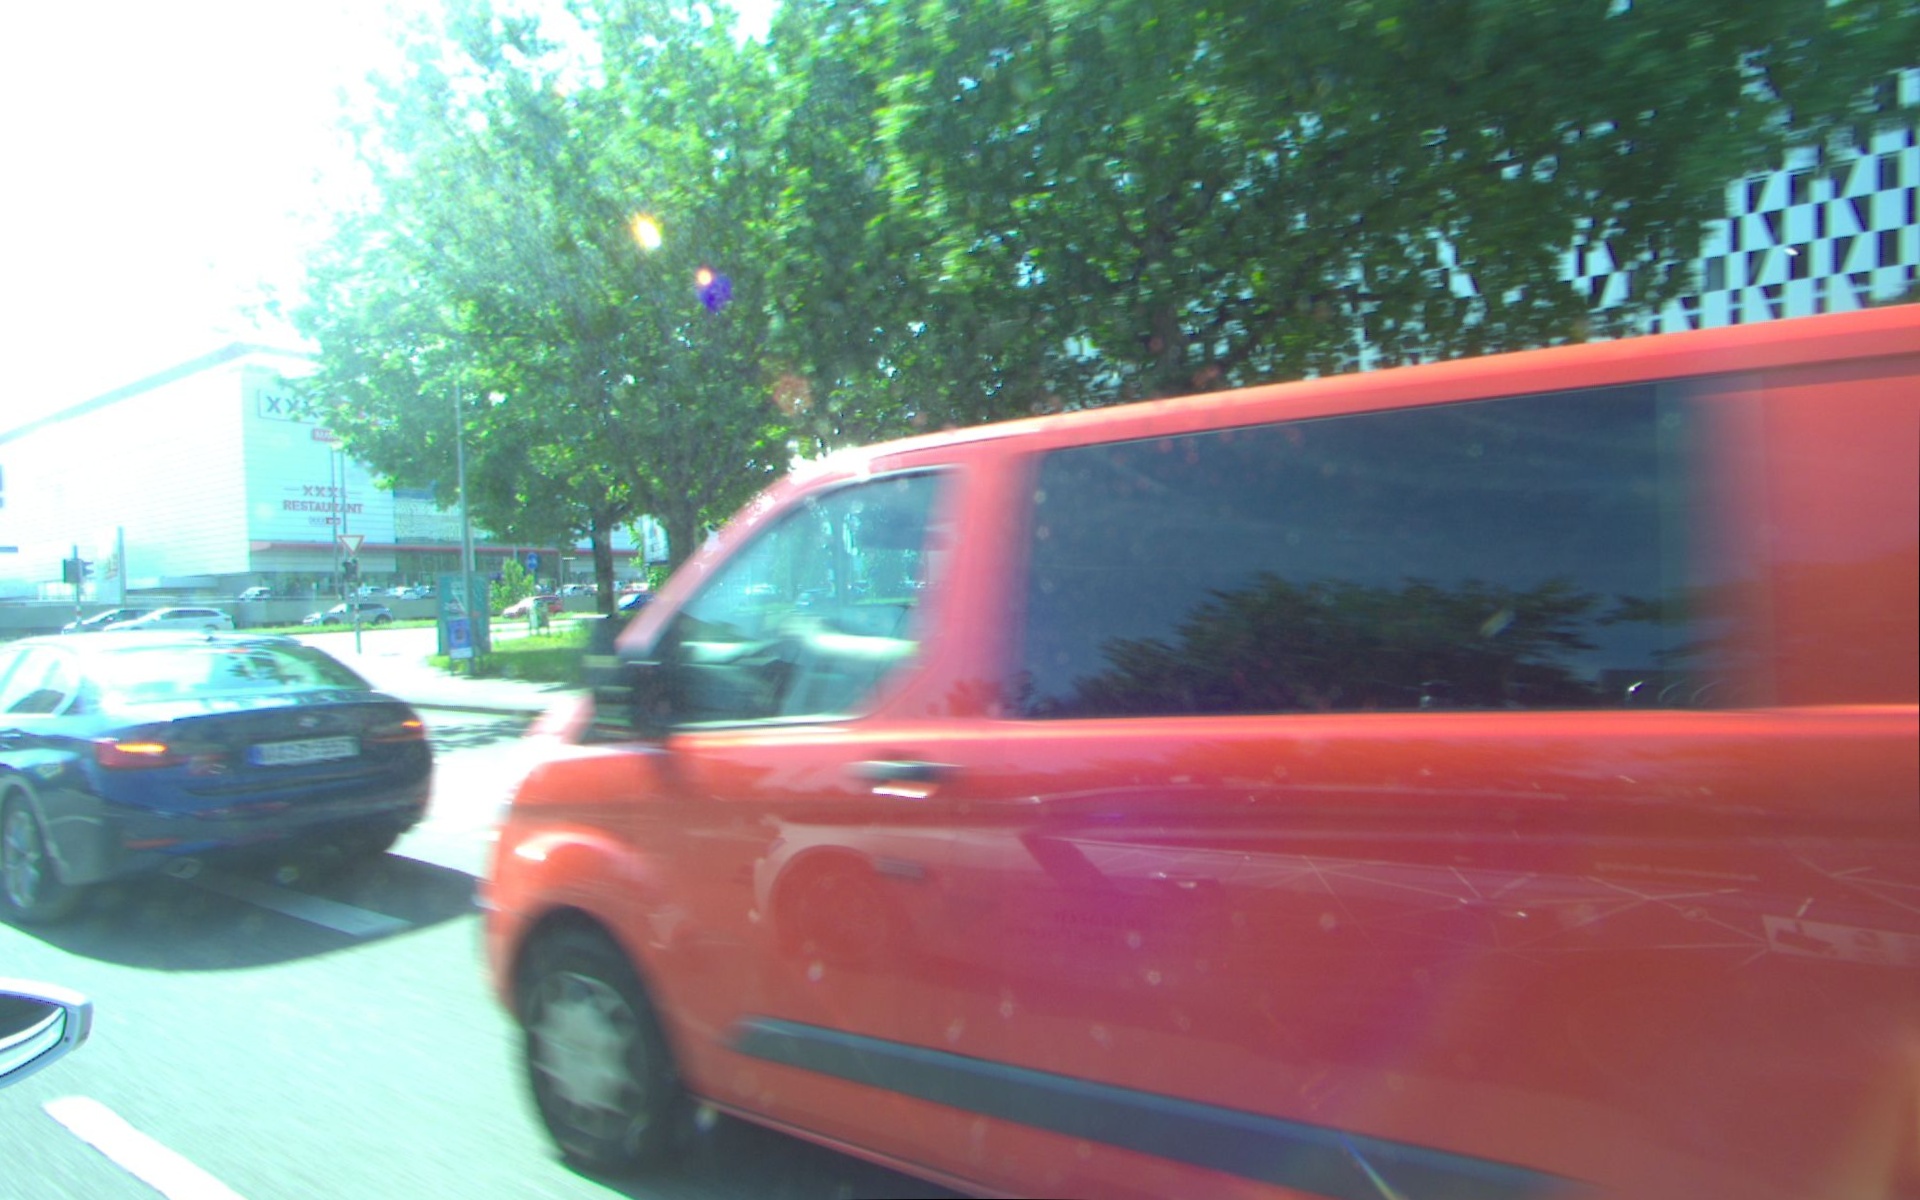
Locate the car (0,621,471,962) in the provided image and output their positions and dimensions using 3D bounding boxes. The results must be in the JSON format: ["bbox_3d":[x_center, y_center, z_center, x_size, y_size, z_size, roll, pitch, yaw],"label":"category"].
[{"bbox_3d":[-5.191,0.880,6.304,4.412,1.477,1.743,-1,-1,32],"label":"car"}]

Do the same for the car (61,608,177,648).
[{"bbox_3d":[-38.532,1.249,45.937,1.462,1.540,3.757,-1,3,36],"label":"car"}]

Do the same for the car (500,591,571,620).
[{"bbox_3d":[-26.324,0.334,62.149,1.462,1.540,3.757,-1,3,36],"label":"car"}]

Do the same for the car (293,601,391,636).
[{"bbox_3d":[-32.812,0.939,53.243,1.462,1.540,4.115,-1,3,36],"label":"car"}]

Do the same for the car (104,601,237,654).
[{"bbox_3d":[-35.408,1.183,45.018,1.462,2.022,4.383,0,3,36],"label":"car"}]

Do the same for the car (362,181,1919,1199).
[{"bbox_3d":[0.772,0.510,2.636,5.052,1.993,1.964,-1,0,32],"label":"car"}]

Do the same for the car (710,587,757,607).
[{"bbox_3d":[-16.884,-0.206,74.795,1.288,1.285,3.279,0,3,39],"label":"car"}]

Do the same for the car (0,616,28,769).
[{"bbox_3d":[-11.721,0.952,10.605,4.019,1.536,1.743,-1,-1,32],"label":"car"}]

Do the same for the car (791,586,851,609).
[{"bbox_3d":[-9.123,-0.177,66.015,1.677,1.266,3.756,-1,3,38],"label":"car"}]

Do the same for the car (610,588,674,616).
[{"bbox_3d":[-20.797,0.116,65.584,1.462,1.540,3.757,-1,3,36],"label":"car"}]
